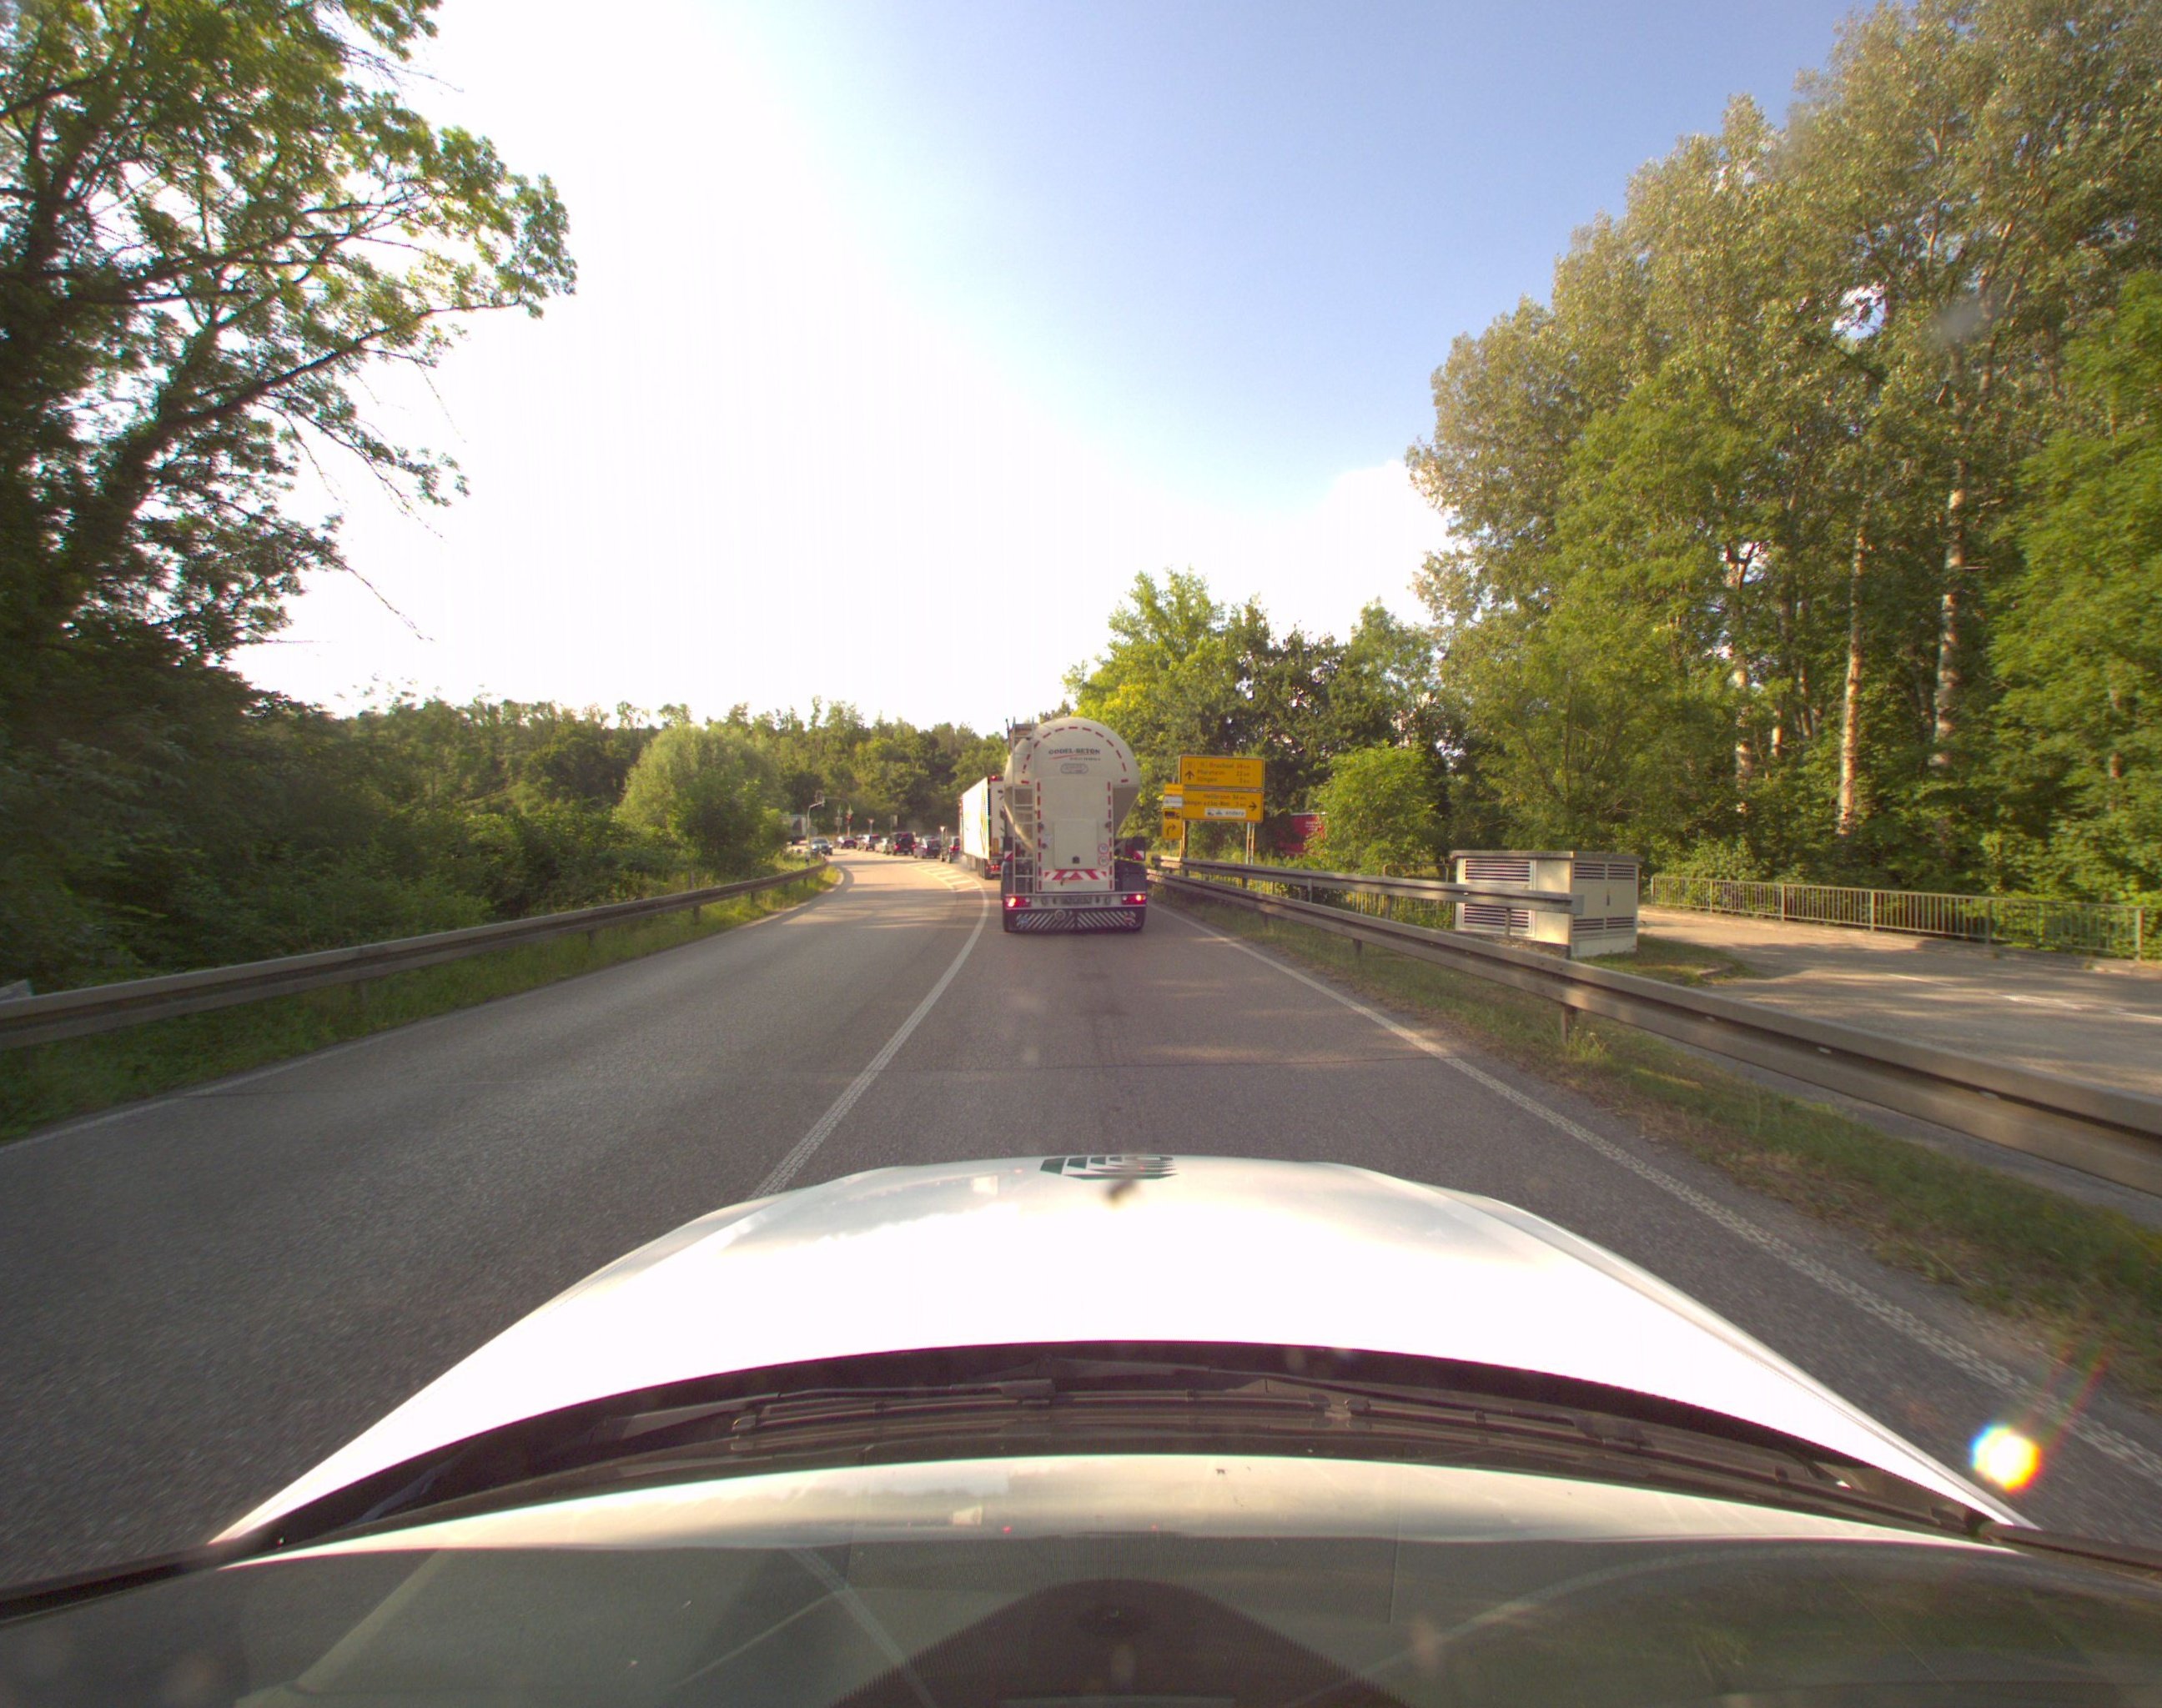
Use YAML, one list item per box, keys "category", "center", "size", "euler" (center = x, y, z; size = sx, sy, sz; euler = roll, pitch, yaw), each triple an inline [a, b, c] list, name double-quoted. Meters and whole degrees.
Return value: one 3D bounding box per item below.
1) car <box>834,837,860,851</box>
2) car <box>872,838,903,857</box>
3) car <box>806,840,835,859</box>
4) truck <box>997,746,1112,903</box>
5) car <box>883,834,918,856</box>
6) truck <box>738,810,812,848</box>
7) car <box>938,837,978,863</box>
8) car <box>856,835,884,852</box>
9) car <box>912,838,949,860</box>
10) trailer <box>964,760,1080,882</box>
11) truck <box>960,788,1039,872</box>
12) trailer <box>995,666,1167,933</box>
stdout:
- category: "car"
  center: [-25.917, -1.128, 90.204]
  size: [1.879, 1.565, 3.963]
  euler: [1, 0, -29]
- category: "car"
  center: [-18.336, -0.652, 76.938]
  size: [1.878, 1.683, 3.964]
  euler: [1, 1, -28]
- category: "car"
  center: [-23.275, -0.438, 72.758]
  size: [1.877, 1.564, 3.967]
  euler: [-2, 2, -26]
- category: "truck"
  center: [-0.965, -0.809, 24.078]
  size: [2.822, 4.034, 5.879]
  euler: [-1, 1, -8]
- category: "car"
  center: [-15.553, -0.793, 70.153]
  size: [1.967, 1.851, 3.965]
  euler: [-2, 2, -27]
- category: "truck"
  center: [-39.437, -3.177, 105.626]
  size: [2.988, 4.584, 10.291]
  euler: [1, 1, 19]
- category: "car"
  center: [-7.982, -0.259, 52.777]
  size: [1.873, 1.628, 3.975]
  euler: [1, 0, -19]
- category: "car"
  center: [-21.509, -1.069, 82.981]
  size: [1.878, 1.595, 3.965]
  euler: [1, 1, -28]
- category: "car"
  center: [-11.423, -0.416, 61.575]
  size: [1.876, 1.564, 3.969]
  euler: [-2, 1, -23]
- category: "trailer"
  center: [-3.104, -1.254, 36.777]
  size: [3.548, 4.512, 12.932]
  euler: [0, 0, -12]
- category: "truck"
  center: [-4.440, -1.164, 43.126]
  size: [3.453, 4.086, 6.463]
  euler: [0, 0, -12]
- category: "trailer"
  center: [-0.382, -0.962, 18.481]
  size: [2.882, 4.454, 9.589]
  euler: [0, 1, -5]
